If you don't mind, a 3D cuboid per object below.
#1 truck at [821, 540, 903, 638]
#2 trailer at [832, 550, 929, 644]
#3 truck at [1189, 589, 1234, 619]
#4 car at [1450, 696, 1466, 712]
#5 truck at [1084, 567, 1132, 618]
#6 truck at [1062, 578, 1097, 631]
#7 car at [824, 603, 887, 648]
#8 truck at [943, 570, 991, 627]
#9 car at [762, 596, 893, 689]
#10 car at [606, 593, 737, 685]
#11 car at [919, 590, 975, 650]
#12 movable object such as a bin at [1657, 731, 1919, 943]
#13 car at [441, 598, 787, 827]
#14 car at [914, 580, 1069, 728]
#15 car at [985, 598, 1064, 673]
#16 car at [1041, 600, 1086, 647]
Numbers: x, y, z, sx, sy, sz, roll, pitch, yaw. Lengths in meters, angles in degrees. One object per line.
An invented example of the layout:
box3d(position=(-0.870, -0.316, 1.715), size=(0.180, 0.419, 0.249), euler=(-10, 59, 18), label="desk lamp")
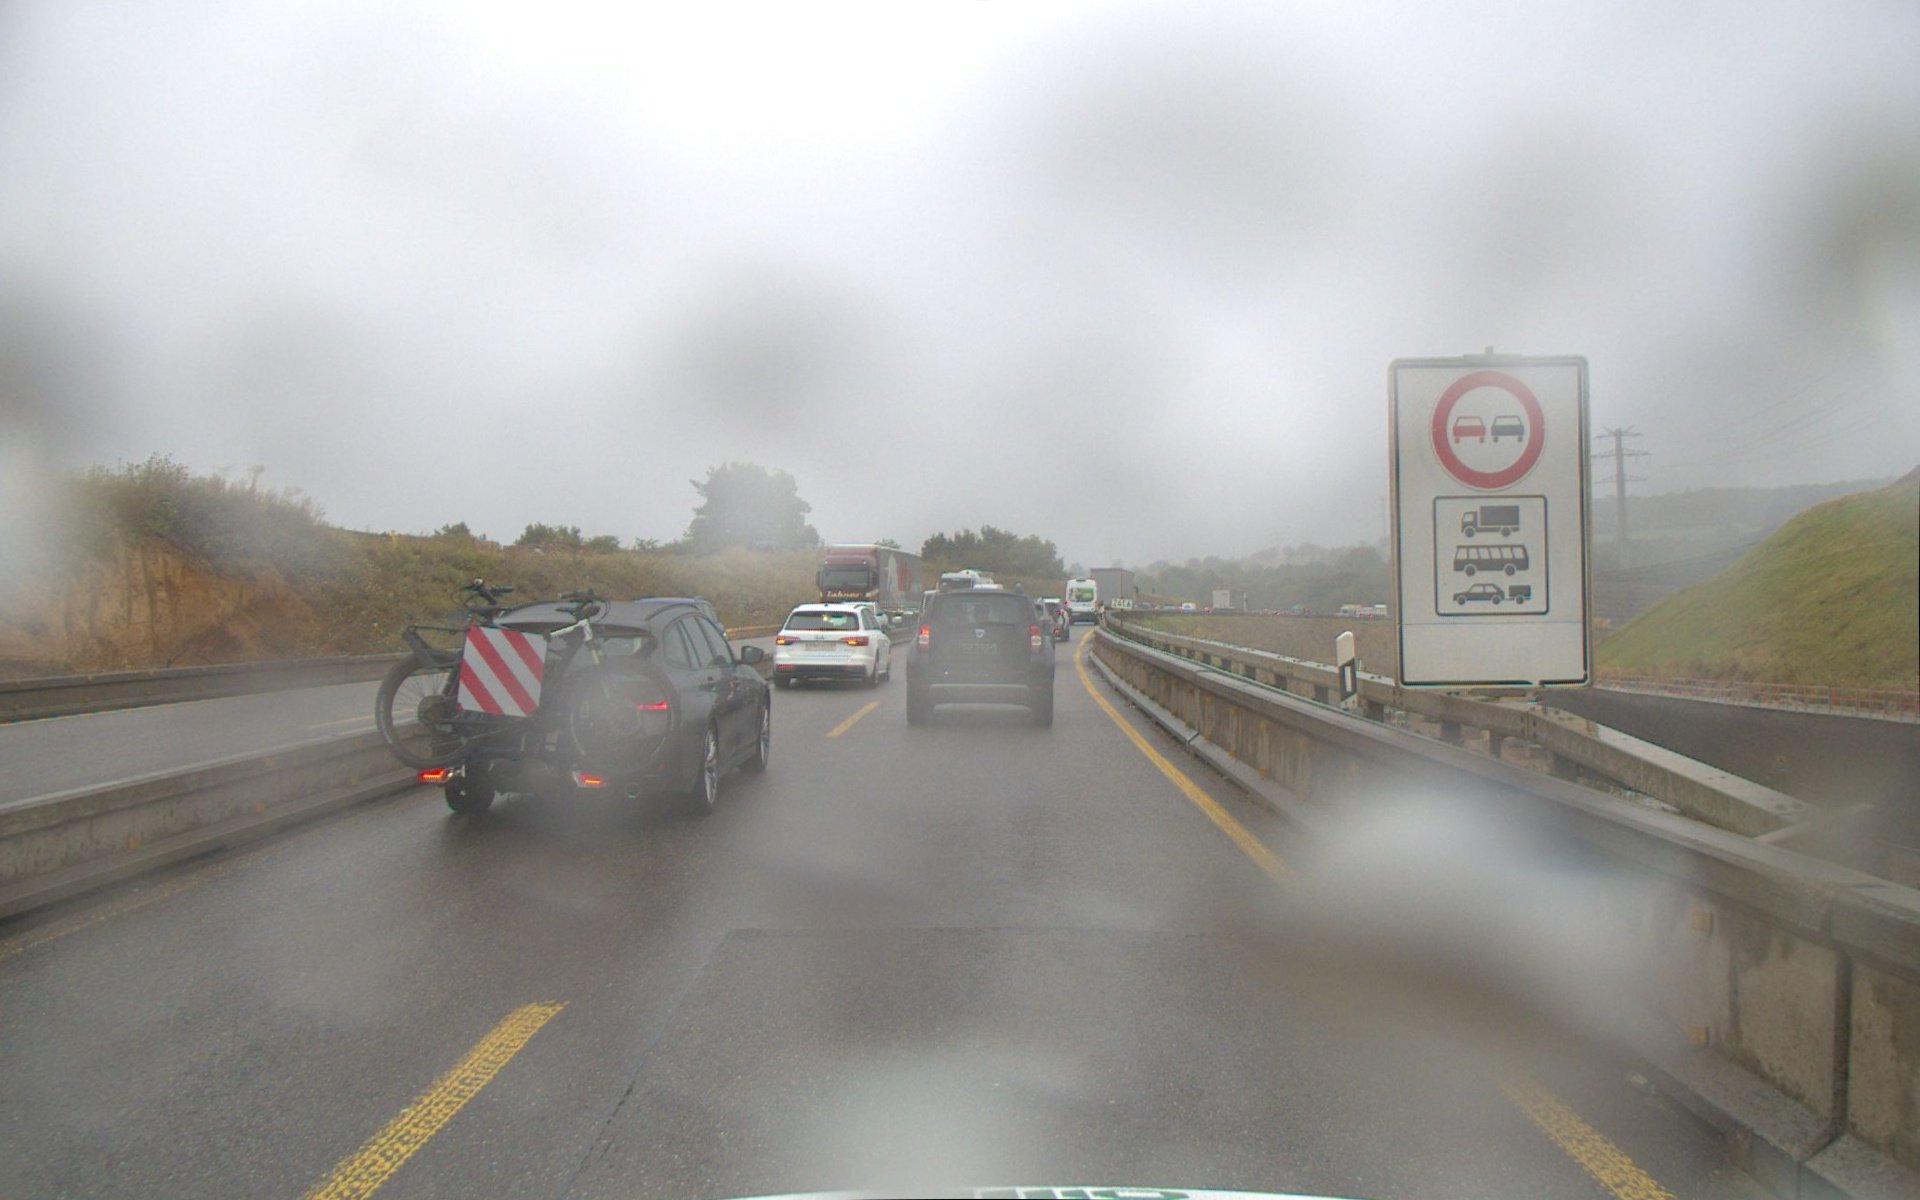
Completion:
box3d(position=(-4.719, -0.528, 80.933), size=(2.917, 4.486, 6.936), euler=(-2, 0, 5), label="truck")
box3d(position=(-4.011, -0.202, 88.471), size=(2.932, 4.498, 15.713), euler=(-2, 0, 5), label="trailer")
box3d(position=(37.240, 0.613, 244.209), size=(4.617, 4.222, 15.692), euler=(1, 0, 16), label="truck")
box3d(position=(67.291, 14.039, 223.477), size=(1.951, 1.848, 4.003), euler=(0, -1, 14), label="car")
box3d(position=(11.751, -0.570, 130.885), size=(3.132, 3.827, 8.516), euler=(1, 0, 9), label="truck")
box3d(position=(7.602, 0.284, 105.150), size=(2.104, 3.221, 6.463), euler=(1, 0, 4), label="truck")
box3d(position=(-3.696, 0.885, 59.226), size=(1.707, 1.529, 4.636), euler=(1, 0, 3), label="car")
box3d(position=(0.533, -0.062, 121.006), size=(3.163, 4.025, 5.883), euler=(0, -1, 3), label="truck")
box3d(position=(-2.250, 0.697, 29.244), size=(1.829, 1.486, 4.549), euler=(1, 0, 1), label="car")
box3d(position=(-5.157, 0.670, 29.965), size=(1.615, 1.529, 3.829), euler=(1, 0, 1), label="car")
box3d(position=(-0.405, 0.653, 55.450), size=(1.625, 1.913, 4.021), euler=(1, 0, 3), label="car")
box3d(position=(27.831, 7.579, 55.506), size=(4.790, 5.770, 12.096), euler=(2, -3, 6), label="movable object such as a bin")
box3d(position=(-2.471, 0.757, 12.754), size=(1.791, 1.502, 3.777), euler=(0, -1, 1), label="car")
box3d(position=(0.307, 0.635, 20.780), size=(1.768, 1.675, 3.775), euler=(0, -1, -2), label="car")
box3d(position=(1.561, 0.828, 40.560), size=(1.829, 1.738, 4.001), euler=(1, 0, 2), label="car")
box3d(position=(3.847, 0.837, 61.058), size=(1.498, 1.669, 4.015), euler=(1, 0, 5), label="car")
